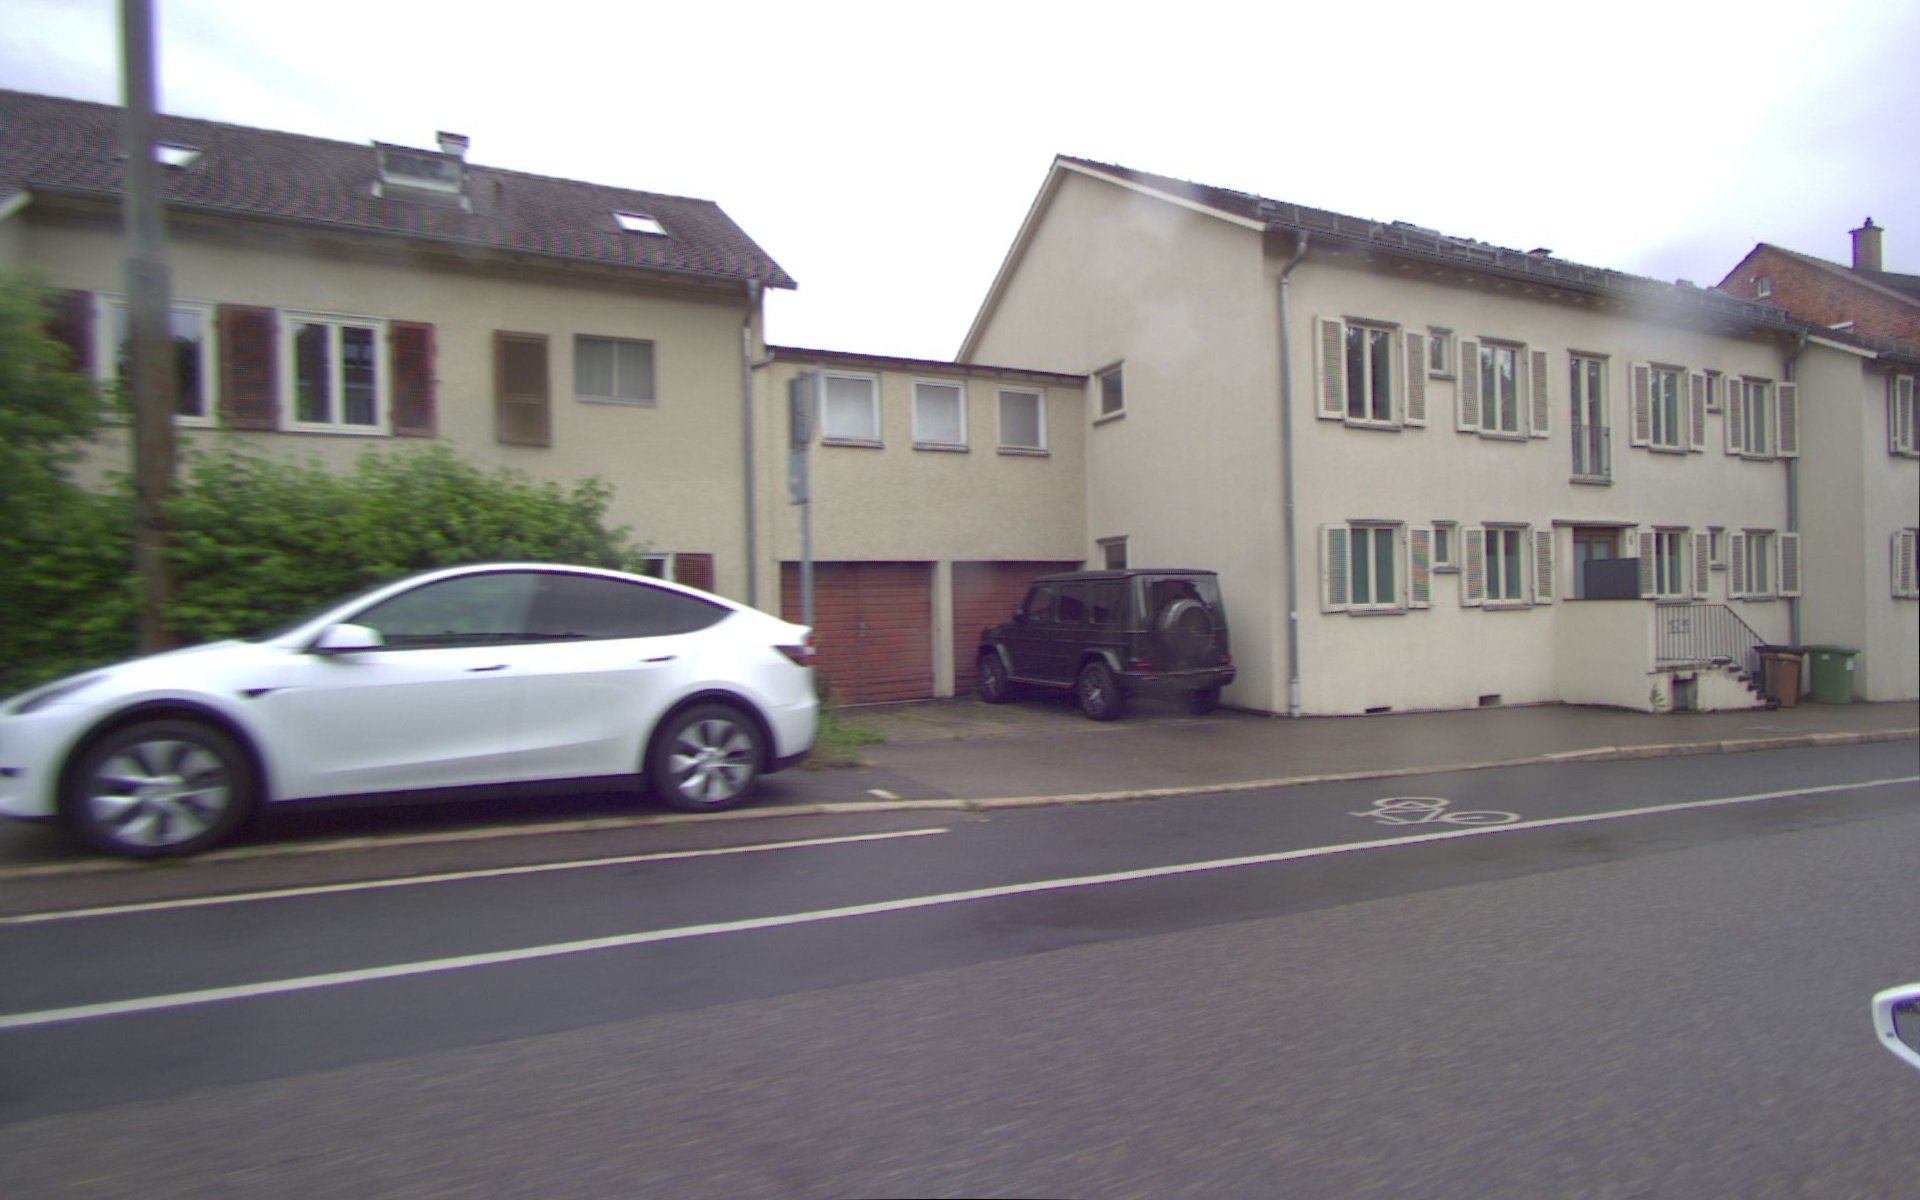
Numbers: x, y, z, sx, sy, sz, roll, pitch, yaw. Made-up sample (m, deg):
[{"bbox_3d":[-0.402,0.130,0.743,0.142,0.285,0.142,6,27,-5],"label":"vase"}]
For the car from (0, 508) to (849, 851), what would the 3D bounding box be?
[{"bbox_3d":[-3.264,0.440,6.742,4.623,1.653,1.920,2,0,-30],"label":"car"}]

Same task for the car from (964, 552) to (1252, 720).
[{"bbox_3d":[1.946,0.453,14.642,1.865,2.040,4.469,0,0,-29],"label":"car"}]

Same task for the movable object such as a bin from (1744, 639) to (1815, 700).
[{"bbox_3d":[15.220,1.278,18.660,0.699,1.060,0.779,2,0,-26],"label":"movable object such as a bin"}]

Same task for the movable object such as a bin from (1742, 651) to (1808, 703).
[{"bbox_3d":[14.543,1.365,17.930,0.699,0.871,0.671,2,0,-26],"label":"movable object such as a bin"}]

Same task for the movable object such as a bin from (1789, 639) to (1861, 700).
[{"bbox_3d":[16.092,1.285,18.695,0.728,1.060,0.779,2,0,-26],"label":"movable object such as a bin"}]

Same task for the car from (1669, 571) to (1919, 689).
[{"bbox_3d":[21.322,0.709,24.284,2.139,2.587,6.634,3,-1,-25],"label":"car"}]
